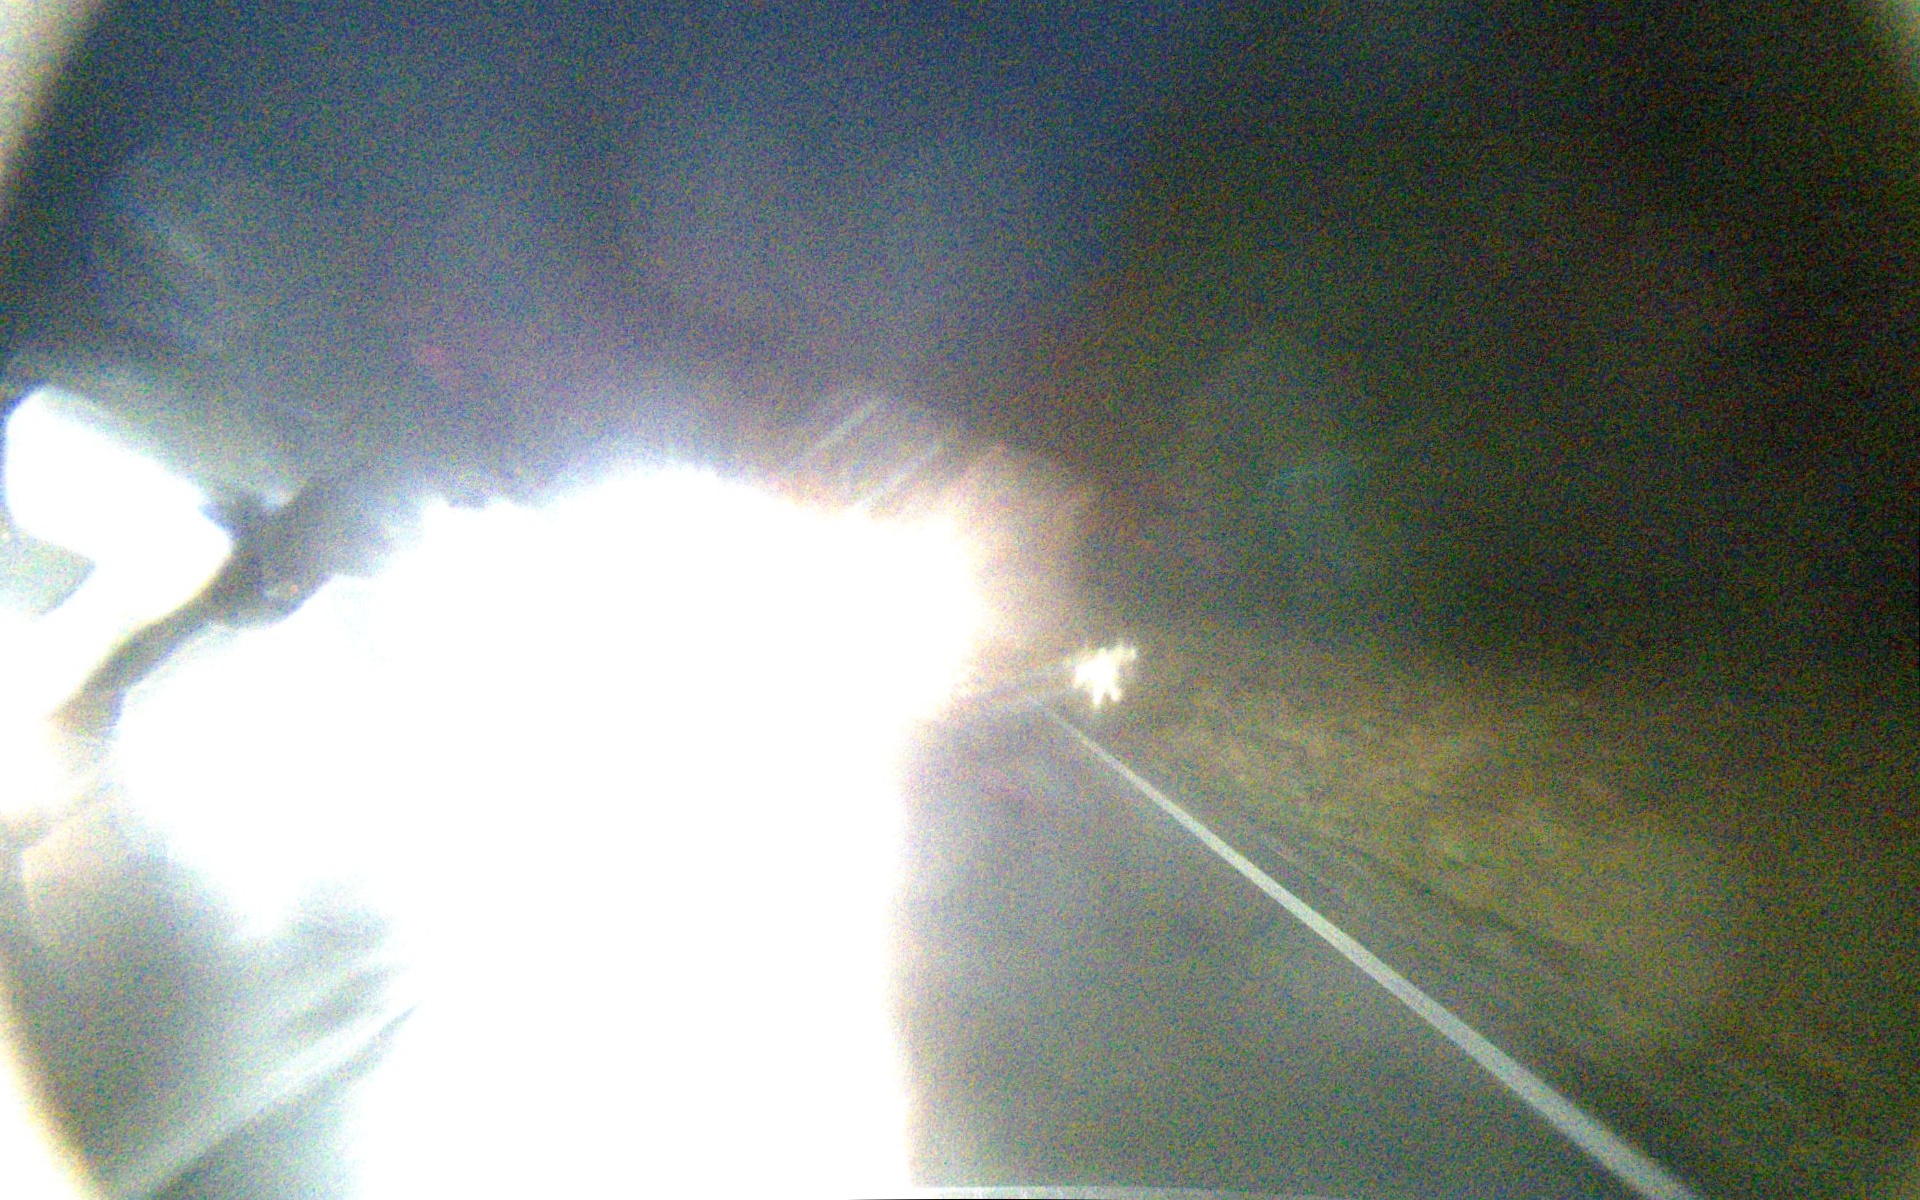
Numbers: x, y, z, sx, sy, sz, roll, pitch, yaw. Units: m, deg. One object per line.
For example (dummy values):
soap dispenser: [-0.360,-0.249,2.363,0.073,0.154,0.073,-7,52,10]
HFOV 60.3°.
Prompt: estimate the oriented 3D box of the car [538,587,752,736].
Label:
car: [-3.785,0.694,20.558,1.884,1.643,4.084,1,0,-1]

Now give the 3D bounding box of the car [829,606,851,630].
car: [-8.868,1.320,122.366,1.454,1.644,3.559,3,0,-2]

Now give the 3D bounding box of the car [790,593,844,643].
car: [-5.123,0.640,59.706,1.620,1.712,4.519,1,0,-1]

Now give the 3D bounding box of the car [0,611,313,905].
car: [-5.539,0.788,9.181,1.766,1.407,4.774,1,0,3]
